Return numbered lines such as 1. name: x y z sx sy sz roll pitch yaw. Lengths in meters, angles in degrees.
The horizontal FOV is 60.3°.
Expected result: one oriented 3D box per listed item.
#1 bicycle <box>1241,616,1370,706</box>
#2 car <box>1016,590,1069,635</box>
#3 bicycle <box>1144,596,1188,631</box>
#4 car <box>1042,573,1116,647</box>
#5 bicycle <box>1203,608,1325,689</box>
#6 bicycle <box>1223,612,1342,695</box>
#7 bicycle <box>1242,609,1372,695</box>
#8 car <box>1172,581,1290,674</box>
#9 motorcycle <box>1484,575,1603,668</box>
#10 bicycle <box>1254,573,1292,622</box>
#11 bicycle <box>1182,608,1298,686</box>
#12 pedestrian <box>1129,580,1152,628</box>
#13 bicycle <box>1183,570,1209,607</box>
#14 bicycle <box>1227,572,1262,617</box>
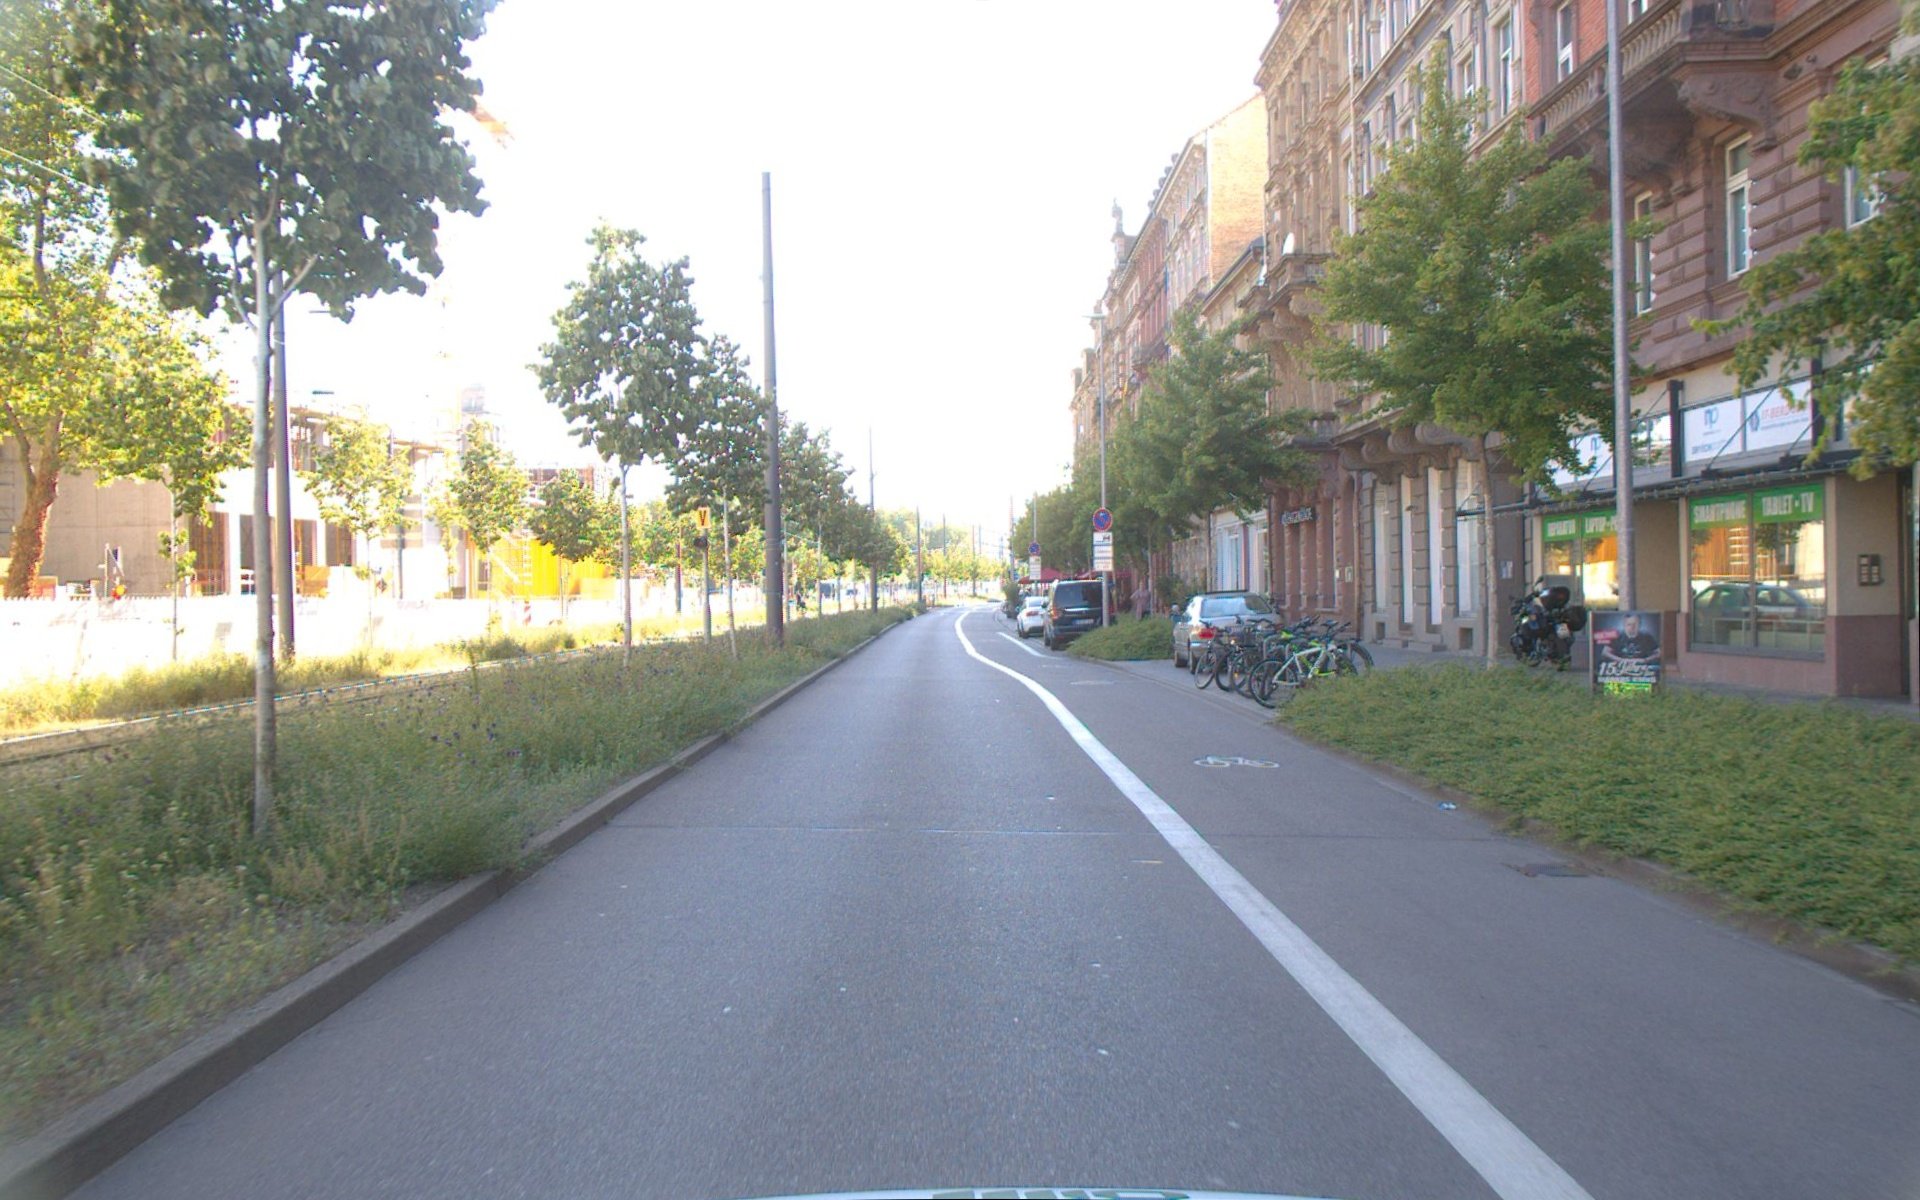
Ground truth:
1. bicycle: 4.528 0.787 21.719 1.547 1.066 0.488 -3 1 -9
2. car: 3.031 0.438 61.489 1.811 1.483 4.157 -2 1 1
3. bicycle: 6.910 0.434 55.511 1.059 1.103 2.769 -1 0 -1
4. car: 3.408 0.236 47.978 1.846 1.971 4.474 -2 1 1
5. bicycle: 4.530 0.722 24.699 1.657 1.066 0.489 -4 0 -1
6. bicycle: 4.589 0.746 23.548 1.547 1.066 0.488 -3 1 -9
7. bicycle: 4.823 0.713 23.014 1.660 1.066 0.488 -3 1 -9
8. car: 5.085 0.463 31.482 1.603 1.511 4.213 -3 1 2
9. motorcycle: 9.272 0.309 26.420 0.779 1.331 2.852 -3 1 -1
10. bicycle: 9.475 -0.093 50.146 0.647 1.427 2.352 -2 1 -1
11. bicycle: 4.393 0.734 25.996 1.657 1.066 0.489 -5 0 -1
12. pedestrian: 5.662 0.109 51.912 0.612 1.485 0.638 -1 0 -1
13. bicycle: 9.402 -0.463 65.984 0.647 1.427 2.352 -2 1 -1
14. bicycle: 9.378 -0.195 54.607 0.647 1.427 2.352 -2 1 -1
